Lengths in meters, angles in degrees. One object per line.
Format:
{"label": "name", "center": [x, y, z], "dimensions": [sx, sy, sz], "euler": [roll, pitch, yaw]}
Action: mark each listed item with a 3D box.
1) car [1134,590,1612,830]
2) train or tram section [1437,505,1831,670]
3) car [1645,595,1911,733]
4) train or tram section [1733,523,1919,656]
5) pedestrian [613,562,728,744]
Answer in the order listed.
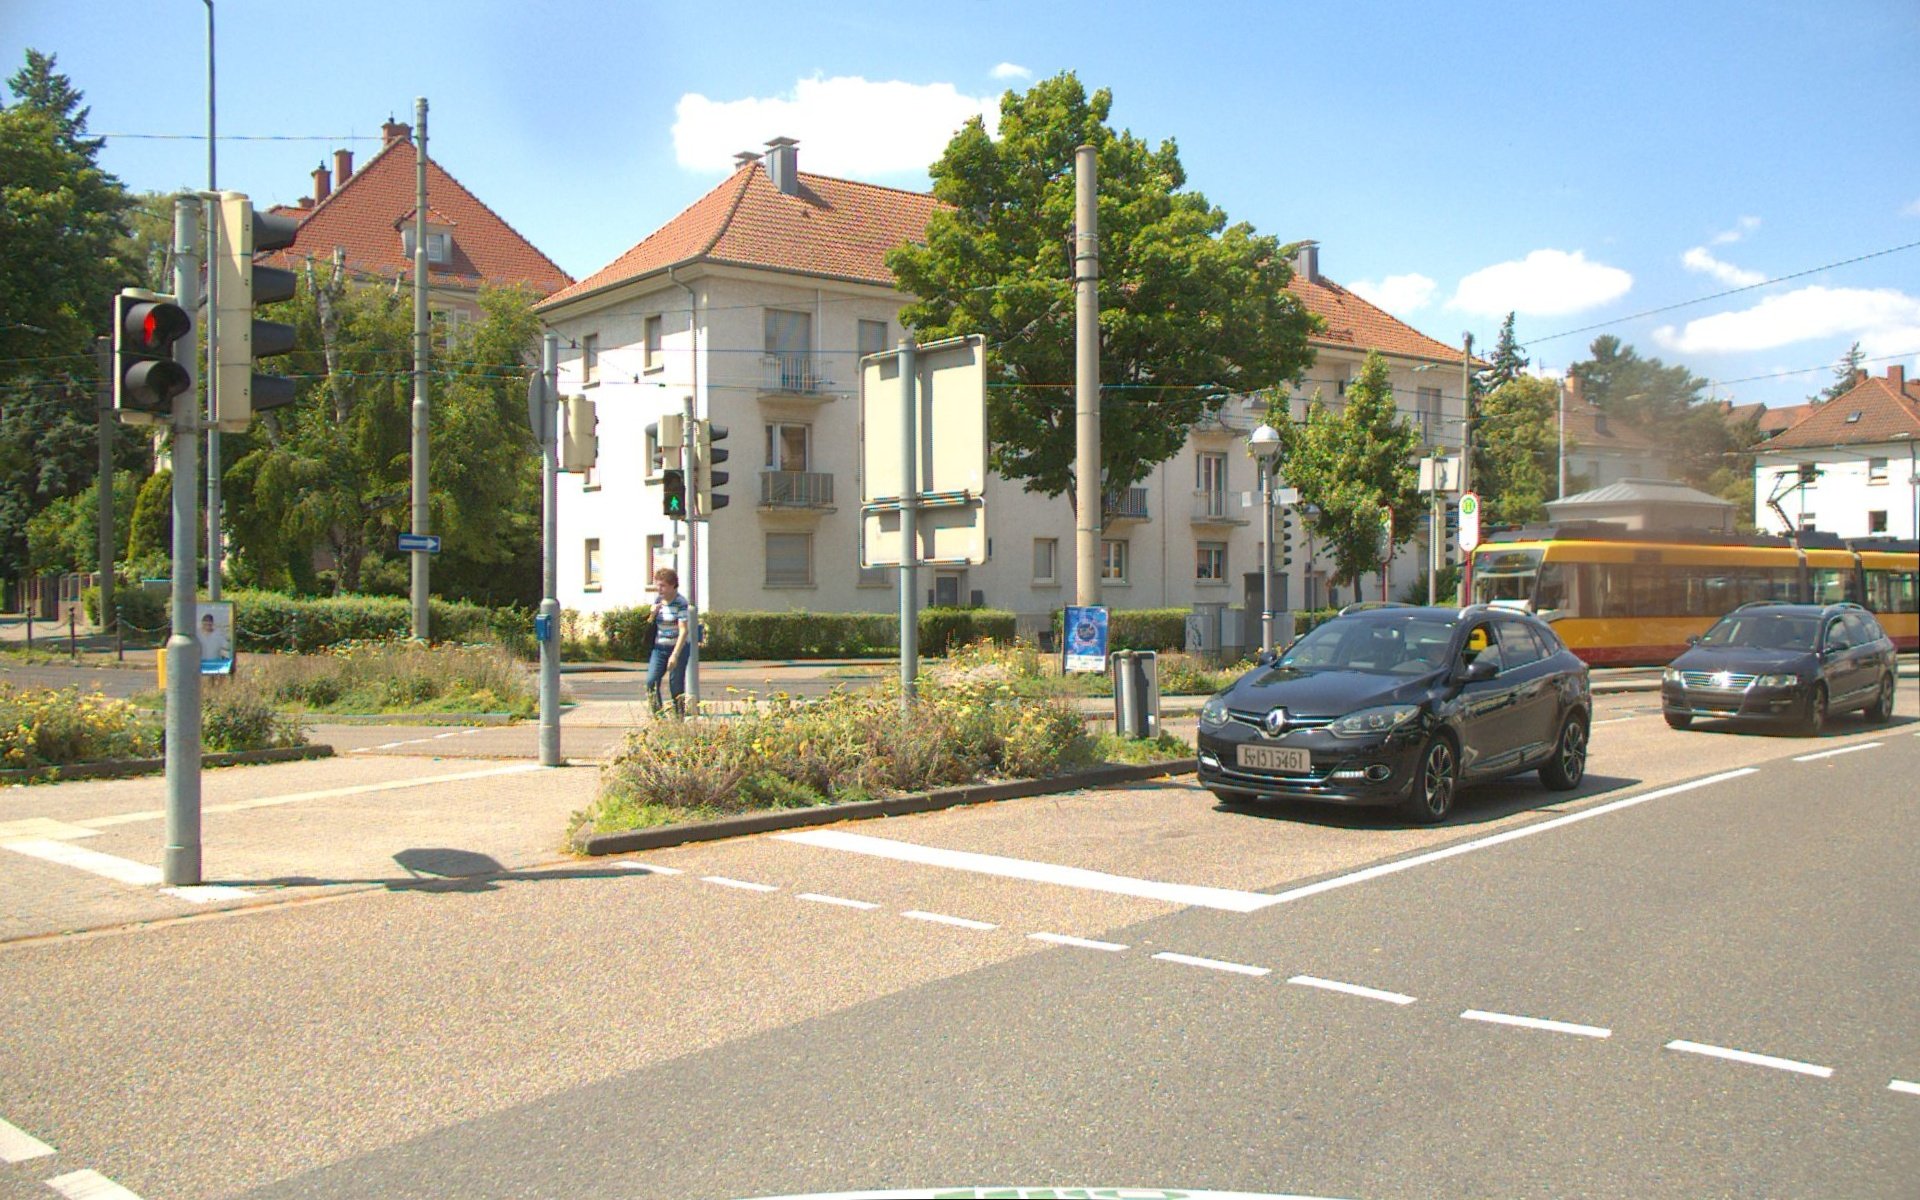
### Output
{"label": "car", "center": [3.388, 0.702, 12.932], "dimensions": [1.962, 1.526, 4.403], "euler": [0, 0, 39]}
{"label": "train or tram section", "center": [17.476, -0.276, 41.932], "dimensions": [14.035, 3.631, 2.780], "euler": [0, 0, -38]}
{"label": "car", "center": [10.478, 0.719, 21.026], "dimensions": [1.964, 1.546, 4.485], "euler": [0, 0, 41]}
{"label": "train or tram section", "center": [28.661, -0.282, 50.804], "dimensions": [14.555, 3.631, 2.756], "euler": [0, 0, -38]}
{"label": "pedestrian", "center": [-2.853, 0.507, 16.330], "dimensions": [0.748, 1.735, 0.834], "euler": [0, 0, 40]}
